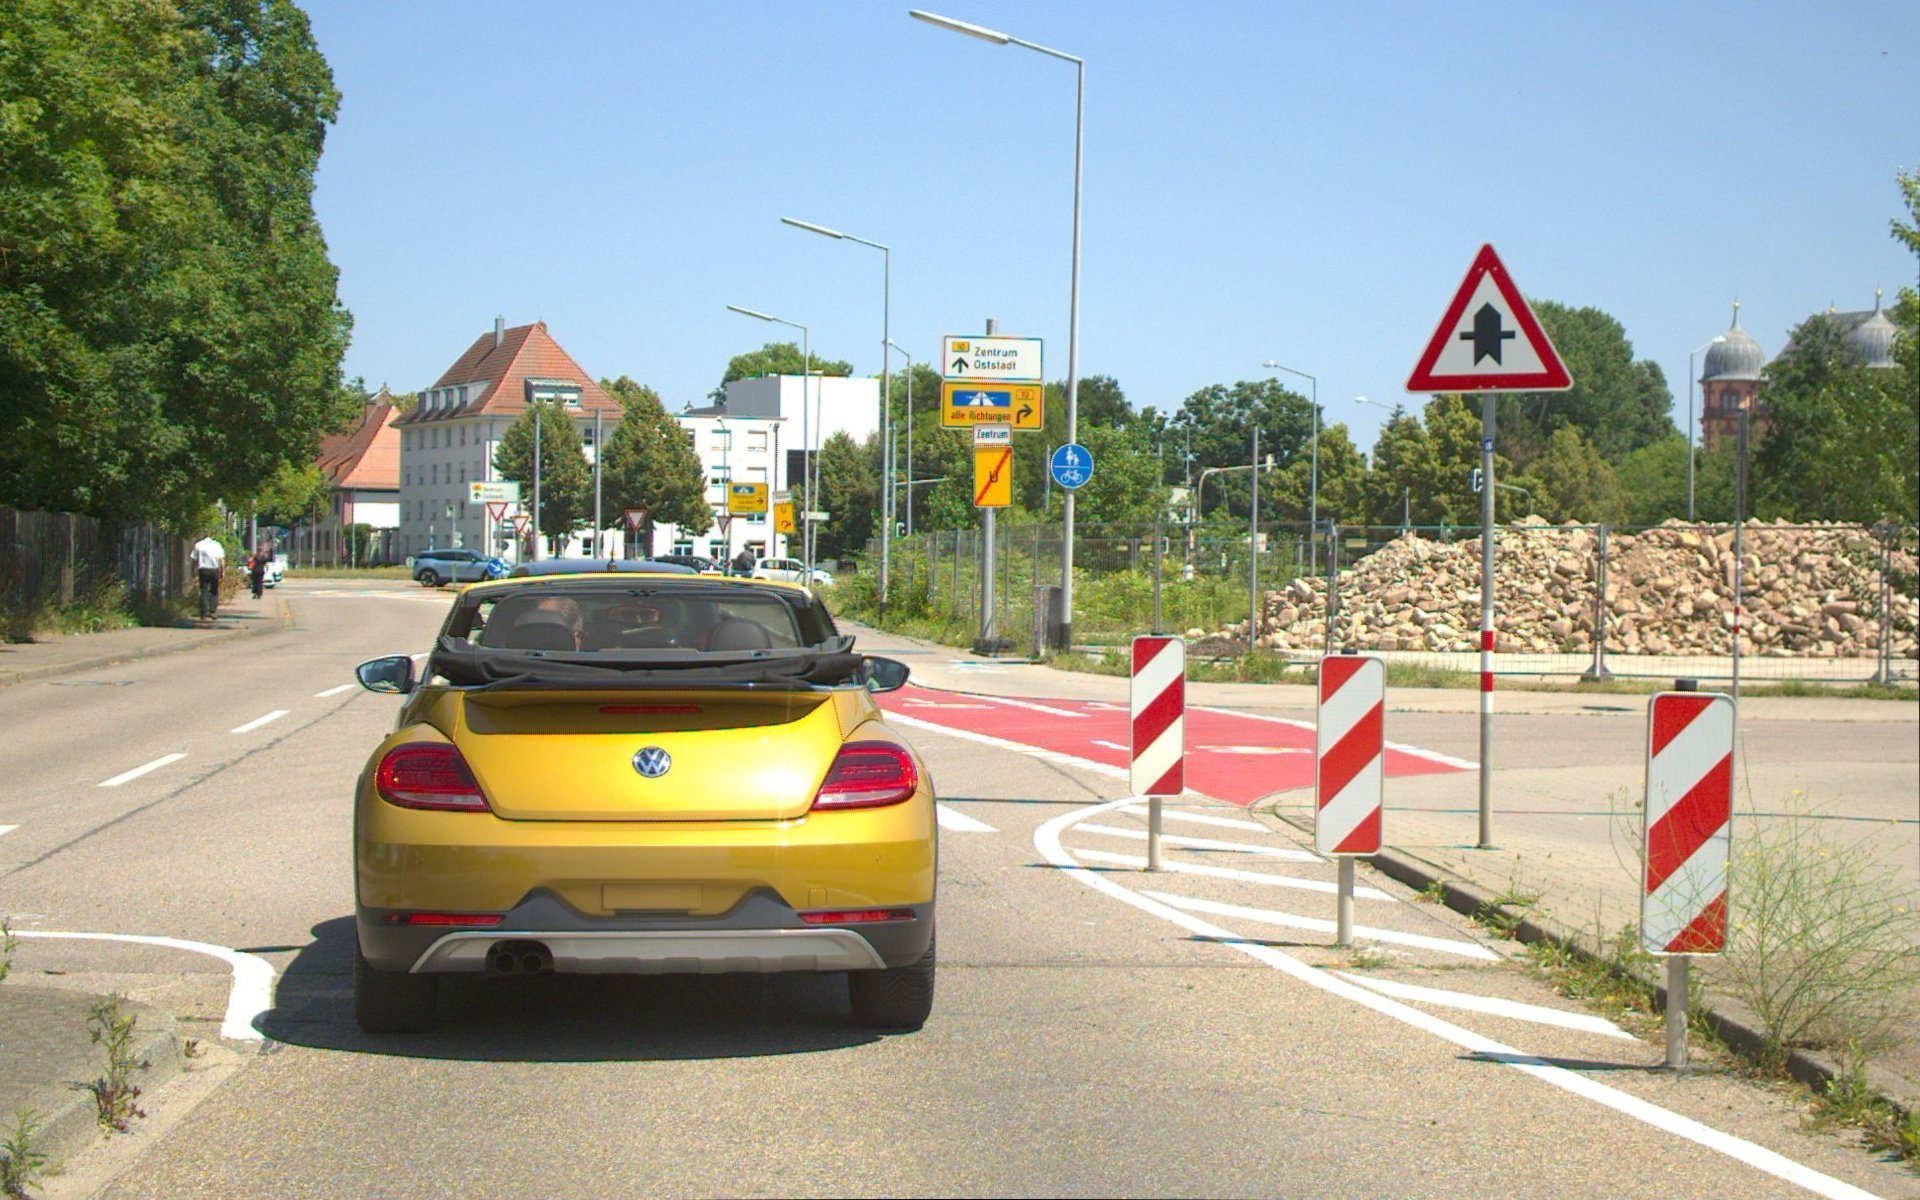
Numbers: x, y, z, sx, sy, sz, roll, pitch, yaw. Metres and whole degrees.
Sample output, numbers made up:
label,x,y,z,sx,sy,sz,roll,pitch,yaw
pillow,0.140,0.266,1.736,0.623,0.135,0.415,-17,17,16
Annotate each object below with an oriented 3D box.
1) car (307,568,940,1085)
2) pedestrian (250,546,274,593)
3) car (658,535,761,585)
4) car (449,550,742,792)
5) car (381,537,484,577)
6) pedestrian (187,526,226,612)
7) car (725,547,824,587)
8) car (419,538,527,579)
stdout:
label,x,y,z,sx,sy,sz,roll,pitch,yaw
car,-1.110,0.631,11.723,1.790,1.432,3.814,0,1,-5
pedestrian,-21.781,-0.965,107.255,0.722,1.449,0.818,0,1,-10
car,-10.210,-1.623,140.427,3.987,2.007,2.000,0,1,2
car,-2.373,0.400,22.476,1.726,1.438,4.001,0,1,-6
car,-22.335,-1.823,145.542,3.987,1.548,1.992,2,1,1
pedestrian,-15.129,-0.623,69.011,0.722,1.719,0.818,0,1,-10
car,-7.807,-1.405,145.192,3.987,1.673,2.259,0,1,2
car,-19.539,-1.655,137.913,3.987,1.607,1.790,0,1,4
